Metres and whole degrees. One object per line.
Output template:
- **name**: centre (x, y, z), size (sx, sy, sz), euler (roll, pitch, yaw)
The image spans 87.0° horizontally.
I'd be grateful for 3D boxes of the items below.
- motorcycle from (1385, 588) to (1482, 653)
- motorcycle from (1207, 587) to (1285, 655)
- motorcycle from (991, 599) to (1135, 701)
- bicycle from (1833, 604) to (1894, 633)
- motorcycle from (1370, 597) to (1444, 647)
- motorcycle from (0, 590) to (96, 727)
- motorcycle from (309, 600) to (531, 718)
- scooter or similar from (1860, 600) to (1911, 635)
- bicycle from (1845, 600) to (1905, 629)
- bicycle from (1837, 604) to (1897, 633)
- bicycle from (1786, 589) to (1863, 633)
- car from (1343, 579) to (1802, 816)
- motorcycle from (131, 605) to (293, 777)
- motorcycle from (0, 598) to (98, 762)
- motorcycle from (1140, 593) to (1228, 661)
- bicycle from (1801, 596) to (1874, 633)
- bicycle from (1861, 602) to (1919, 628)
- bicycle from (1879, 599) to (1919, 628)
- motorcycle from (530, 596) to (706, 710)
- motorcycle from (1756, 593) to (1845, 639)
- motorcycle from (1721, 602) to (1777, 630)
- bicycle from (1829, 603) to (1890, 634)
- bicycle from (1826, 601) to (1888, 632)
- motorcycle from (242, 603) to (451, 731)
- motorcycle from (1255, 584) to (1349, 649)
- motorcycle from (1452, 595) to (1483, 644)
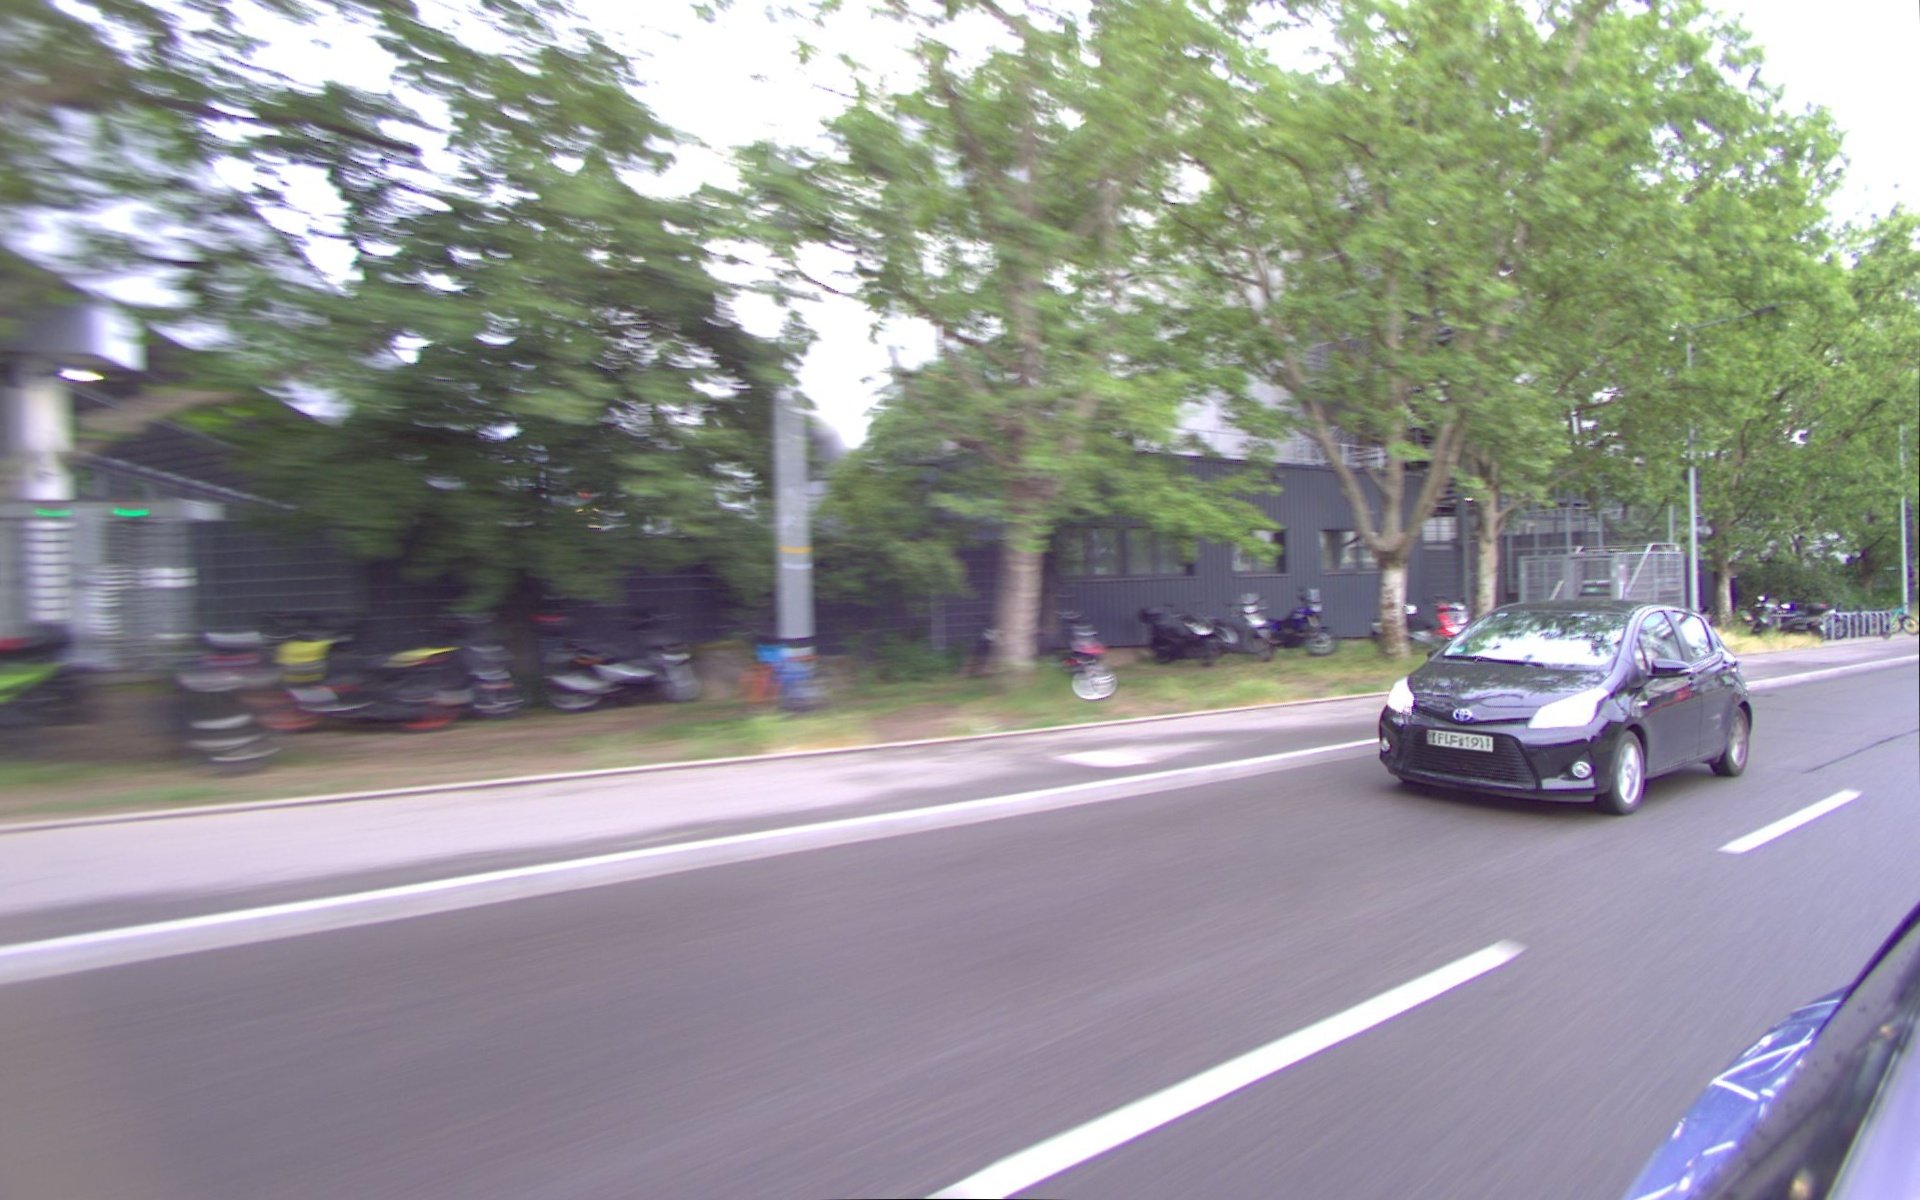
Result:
- **motorcycle**: centre (8.900, 0.393, 19.078), size (0.483, 1.165, 1.660), euler (-1, -1, -29)
- **motorcycle**: centre (6.002, 0.453, 21.311), size (0.497, 1.382, 1.500), euler (0, -2, -41)
- **motorcycle**: centre (1.291, 0.602, 12.883), size (1.844, 1.206, 0.514), euler (0, 0, 38)
- **bicycle**: centre (31.970, 0.659, 35.837), size (0.386, 0.970, 1.556), euler (0, 1, -37)
- **motorcycle**: centre (10.853, 0.537, 24.640), size (0.548, 1.160, 1.646), euler (-1, -1, -26)
- **motorcycle**: centre (-9.520, 0.546, 9.673), size (2.028, 1.295, 0.350), euler (0, 0, -9)
- **motorcycle**: centre (-6.220, 0.661, 11.730), size (2.235, 1.295, 0.522), euler (0, 0, -6)
- **scooter or similar**: centre (30.581, 0.579, 33.444), size (0.307, 1.105, 1.215), euler (0, 1, -41)
- **bicycle**: centre (33.059, 0.508, 36.573), size (0.386, 1.018, 1.556), euler (0, 1, -37)
- **bicycle**: centre (32.306, 0.653, 36.069), size (0.386, 0.970, 1.556), euler (0, 1, -37)
- **bicycle**: centre (27.642, 0.338, 32.400), size (1.856, 1.365, 0.441), euler (1, 1, 42)
- **car**: centre (5.327, 0.606, 8.547), size (4.555, 1.488, 1.749), euler (-1, 0, -37)
- **motorcycle**: centre (-6.239, 0.688, 8.403), size (1.844, 1.269, 0.621), euler (0, 0, 38)
- **motorcycle**: centre (-7.799, 0.620, 7.696), size (0.621, 1.269, 1.843), euler (0, 0, 18)
- **motorcycle**: centre (4.428, 0.541, 20.146), size (0.481, 1.274, 1.922), euler (-1, -1, -31)
- **bicycle**: centre (29.060, 0.470, 33.537), size (0.440, 1.182, 1.790), euler (0, 1, -42)
- **bicycle**: centre (35.202, 0.557, 38.304), size (0.380, 0.951, 1.612), euler (0, 1, -36)
- **bicycle**: centre (34.284, 0.473, 36.565), size (0.386, 1.018, 1.556), euler (0, 1, -37)
- **motorcycle**: centre (-4.200, 0.611, 12.521), size (1.954, 1.295, 0.647), euler (-1, 0, -38)
- **motorcycle**: centre (24.818, 0.457, 29.921), size (0.432, 1.289, 2.019), euler (0, 1, -24)
- **motorcycle**: centre (30.451, 0.620, 39.074), size (0.566, 1.014, 1.612), euler (0, 1, -37)
- **bicycle**: centre (31.479, 0.633, 35.436), size (0.386, 1.018, 1.556), euler (0, 1, -37)
- **bicycle**: centre (30.888, 0.574, 34.880), size (0.386, 1.018, 1.556), euler (0, 1, -37)
- **motorcycle**: centre (-6.389, 0.680, 10.593), size (1.817, 1.295, 0.522), euler (0, 0, -6)
- **motorcycle**: centre (7.545, 0.387, 22.394), size (0.497, 1.382, 1.930), euler (0, -2, -41)
- **motorcycle**: centre (12.674, 0.473, 25.248), size (0.474, 1.160, 1.875), euler (-3, -1, 33)
